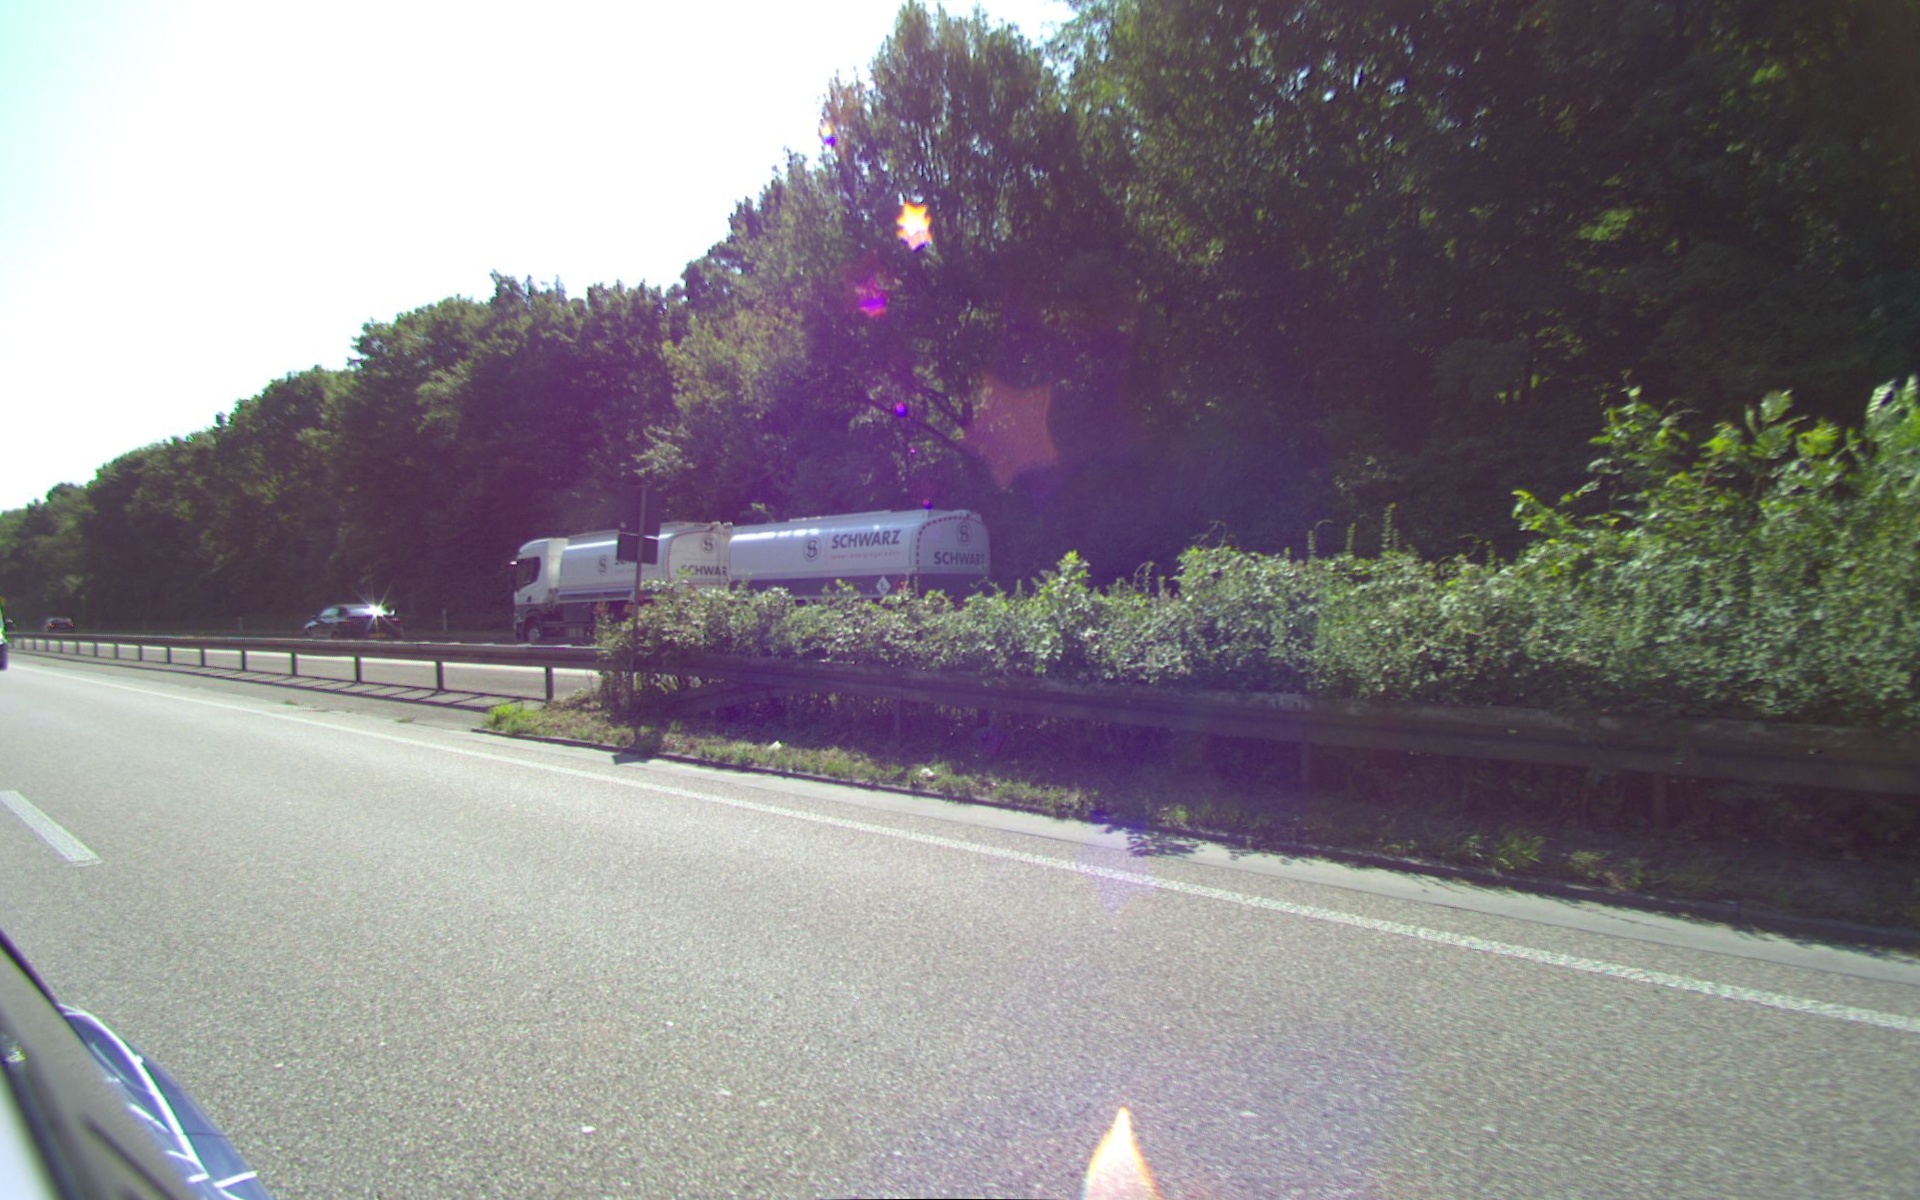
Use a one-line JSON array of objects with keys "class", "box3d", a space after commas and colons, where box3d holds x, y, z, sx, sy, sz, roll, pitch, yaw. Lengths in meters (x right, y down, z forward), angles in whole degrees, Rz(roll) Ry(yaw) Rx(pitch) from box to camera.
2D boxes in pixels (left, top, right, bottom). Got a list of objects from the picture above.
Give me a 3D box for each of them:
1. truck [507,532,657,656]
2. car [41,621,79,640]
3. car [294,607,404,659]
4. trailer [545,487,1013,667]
[{"class": "truck", "box3d": [-10.889, -0.146, 29.066, 3.998, 3.283, 2.400, -1, 0, 41]}, {"class": "car", "box3d": [-79.765, 2.694, 89.698, 4.547, 1.521, 1.824, -1, 0, 40]}, {"class": "car", "box3d": [-19.000, 1.002, 31.402, 4.242, 1.491, 1.705, -1, 0, 41]}, {"class": "trailer", "box3d": [-5.185, -0.310, 24.045, 14.425, 3.260, 2.467, -1, 0, 41]}]
